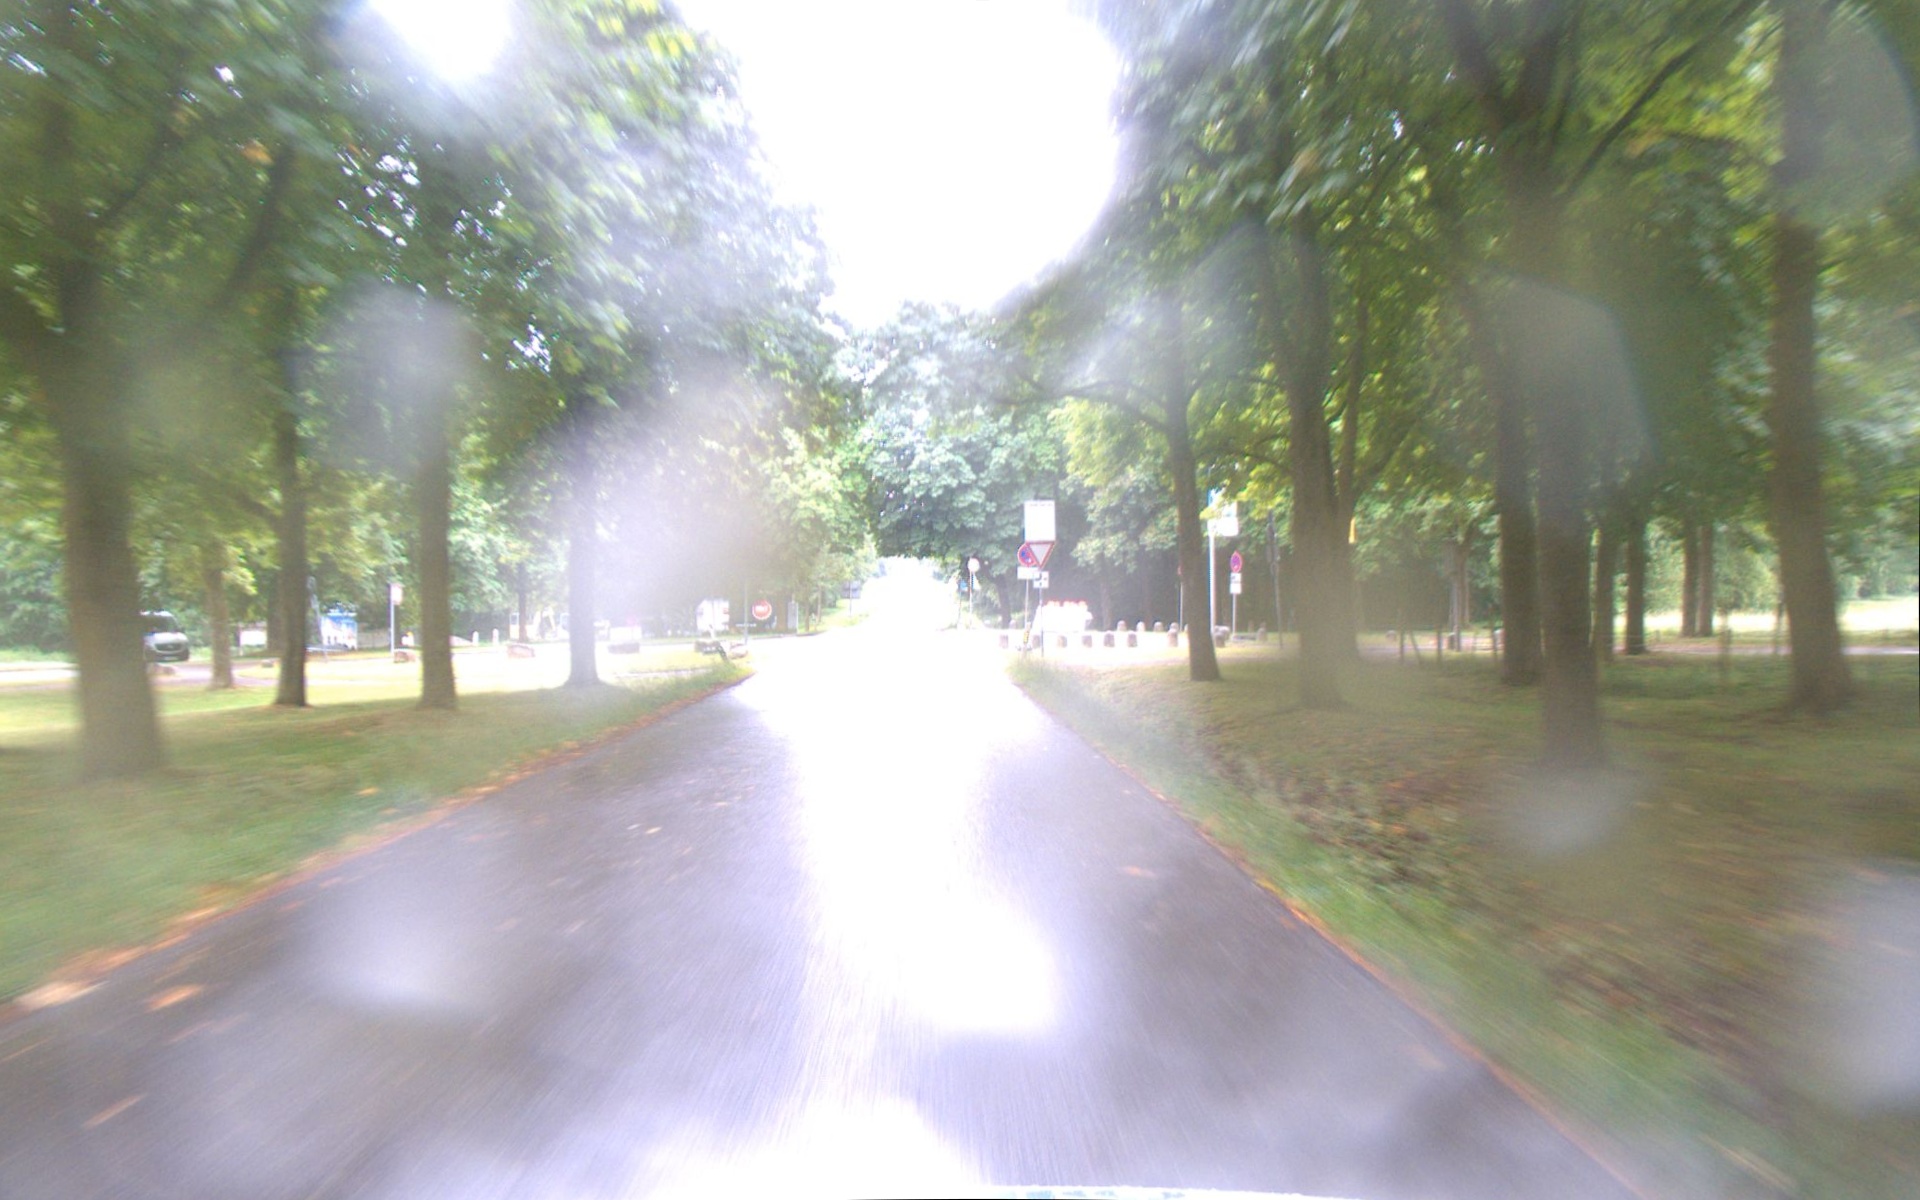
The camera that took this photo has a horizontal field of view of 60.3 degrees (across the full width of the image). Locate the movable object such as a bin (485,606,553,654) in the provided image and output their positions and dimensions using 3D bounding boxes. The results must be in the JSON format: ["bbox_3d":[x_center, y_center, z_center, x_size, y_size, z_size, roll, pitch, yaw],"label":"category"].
[{"bbox_3d":[-32.378,2.201,121.710,4.574,3.352,3.901,-1,-1,-13],"label":"movable object such as a bin"}]

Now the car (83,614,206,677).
[{"bbox_3d":[-33.271,1.885,67.415,5.872,2.450,2.380,-3,-3,40],"label":"car"}]

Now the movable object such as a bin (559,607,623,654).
[{"bbox_3d":[-27.510,2.286,123.506,4.502,3.352,3.654,-1,-1,-13],"label":"movable object such as a bin"}]

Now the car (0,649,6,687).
[{"bbox_3d":[-37.625,2.625,62.771,1.737,1.454,4.083,-1,-1,-20],"label":"car"}]
